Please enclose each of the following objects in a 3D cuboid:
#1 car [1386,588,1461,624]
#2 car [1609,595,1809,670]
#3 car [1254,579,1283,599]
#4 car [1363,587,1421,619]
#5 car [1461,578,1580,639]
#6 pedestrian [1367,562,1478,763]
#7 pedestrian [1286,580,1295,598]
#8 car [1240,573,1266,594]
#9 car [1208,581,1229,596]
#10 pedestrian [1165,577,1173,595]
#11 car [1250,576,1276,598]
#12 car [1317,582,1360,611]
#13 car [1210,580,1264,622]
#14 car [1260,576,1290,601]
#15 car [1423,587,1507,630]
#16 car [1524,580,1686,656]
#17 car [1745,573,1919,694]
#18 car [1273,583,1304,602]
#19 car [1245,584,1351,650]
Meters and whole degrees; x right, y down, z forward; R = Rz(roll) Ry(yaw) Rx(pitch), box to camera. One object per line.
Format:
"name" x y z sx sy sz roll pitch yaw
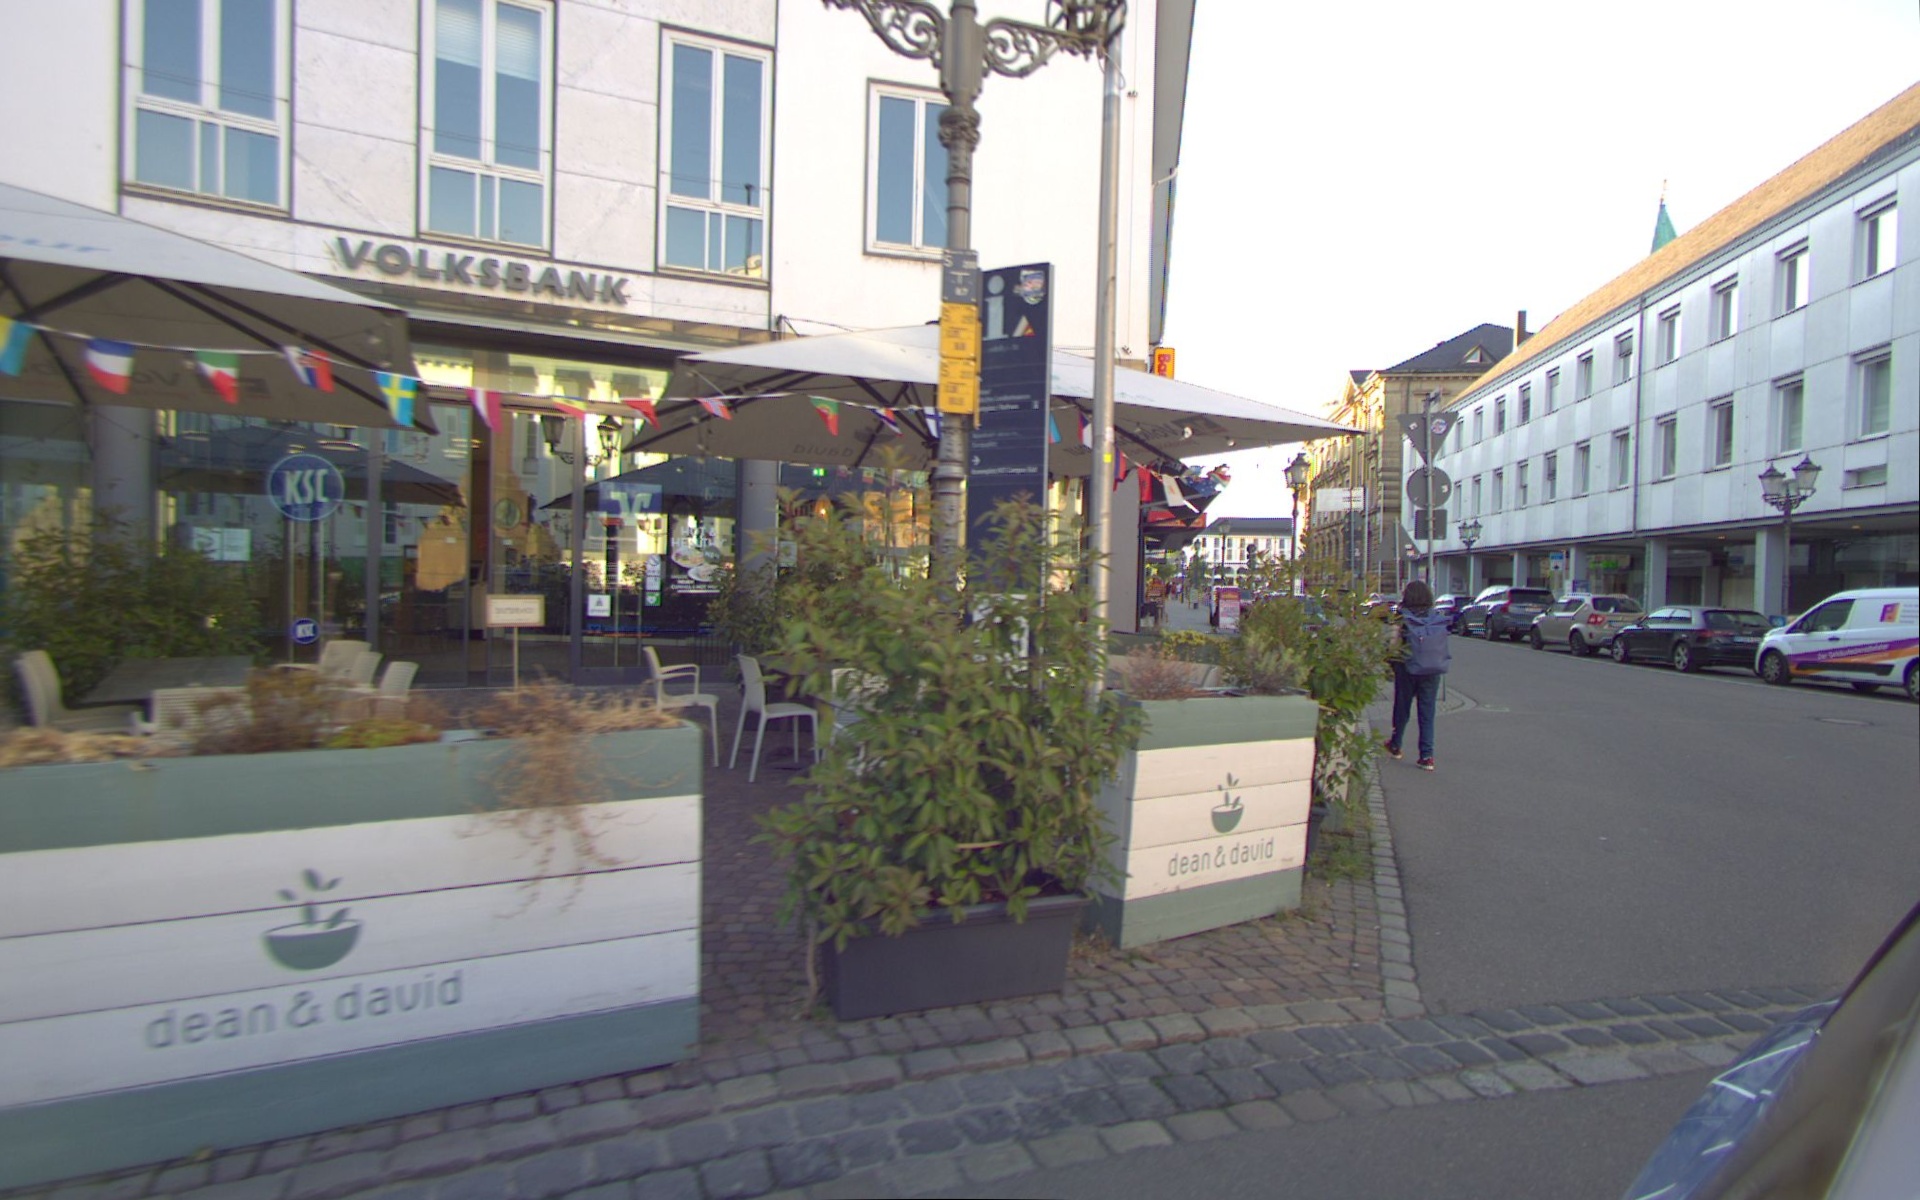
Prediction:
"car" 20.058 0.227 43.978 1.969 1.371 3.987 3 2 11
"car" 15.918 0.620 21.795 1.655 1.370 4.096 1 1 8
"car" 29.962 -1.086 98.495 1.968 1.774 4.977 2 2 9
"car" 20.872 0.117 49.037 1.763 1.426 4.075 2 1 11
"car" 17.956 0.216 32.672 1.969 1.749 4.501 3 2 11
"pedestrian" 4.022 0.514 8.853 0.681 1.668 0.693 1 1 11
"pedestrian" 32.819 -1.112 100.626 0.705 1.752 0.893 -2 0 12
"car" 32.052 -1.787 110.768 1.967 2.198 5.196 1 1 8
"car" 26.504 -1.184 103.885 1.741 1.439 3.989 3 2 10
"pedestrian" 20.992 -1.422 101.521 0.705 1.751 0.870 1 1 13
"car" 31.054 -1.390 103.909 1.969 2.113 5.191 2 2 11
"car" 23.011 -0.264 61.586 1.763 1.635 4.152 2 1 11
"car" 10.880 -0.009 39.961 1.737 1.542 3.665 1 1 11
"car" 28.787 -1.095 92.634 1.968 2.103 4.977 2 2 10
"car" 18.818 0.281 37.916 1.652 1.417 3.989 3 2 10
"car" 16.692 0.386 26.472 1.967 1.682 3.993 3 2 8
"car" 15.610 0.491 16.572 1.964 1.838 4.780 1 1 4
"car" 27.935 -0.656 86.110 1.969 1.513 4.152 2 2 11
"car" 8.569 0.364 25.999 1.777 1.482 4.109 2 1 8
